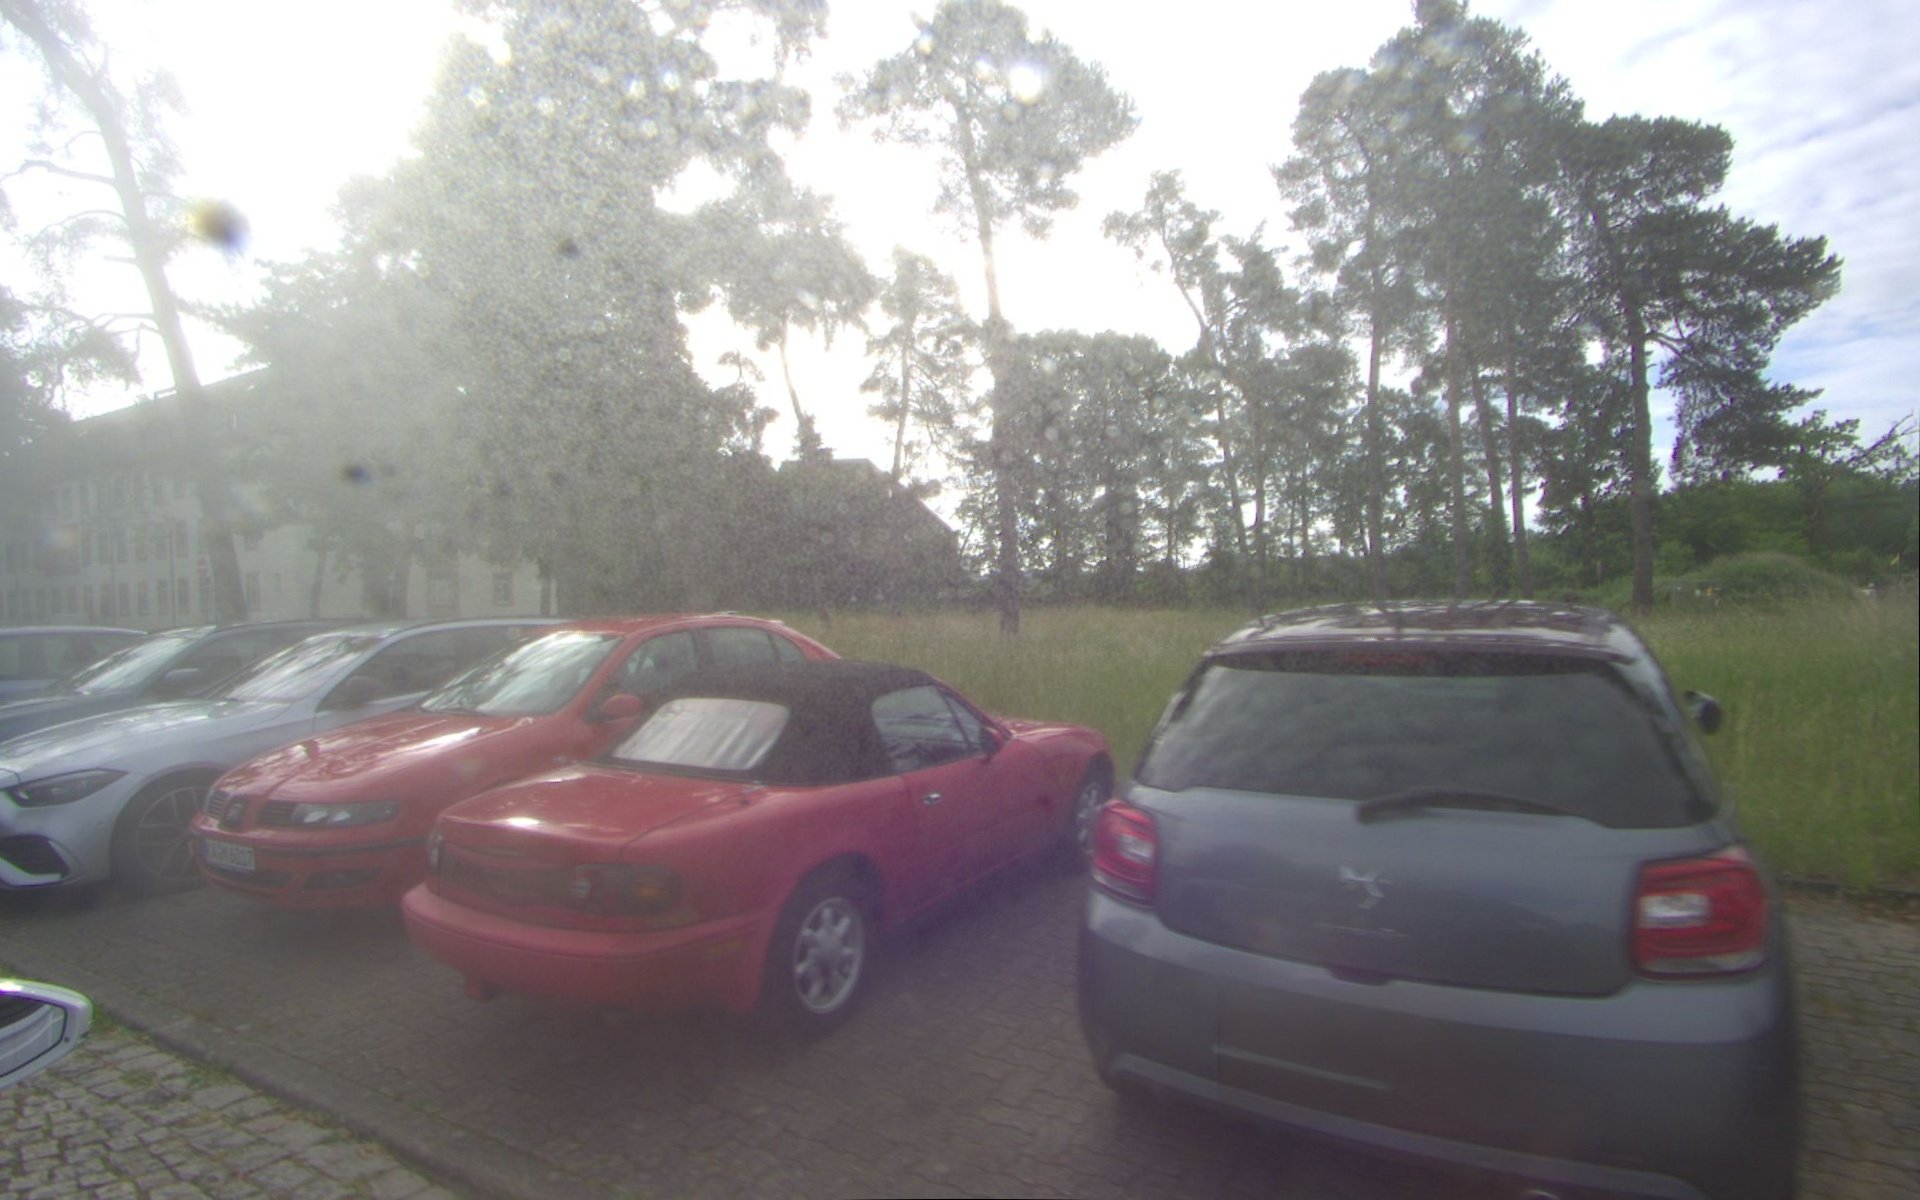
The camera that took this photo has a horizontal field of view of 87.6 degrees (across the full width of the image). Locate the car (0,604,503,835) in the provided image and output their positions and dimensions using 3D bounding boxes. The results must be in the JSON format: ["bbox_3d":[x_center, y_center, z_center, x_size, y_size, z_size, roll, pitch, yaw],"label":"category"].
[{"bbox_3d":[-6.685,0.859,8.787,1.842,1.436,4.674,-1,2,28],"label":"car"}]

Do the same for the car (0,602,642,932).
[{"bbox_3d":[-4.531,0.833,7.229,1.839,1.436,4.422,-1,2,22],"label":"car"}]

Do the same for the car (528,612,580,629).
[{"bbox_3d":[-35.170,1.794,86.860,1.627,1.439,3.940,-1,-3,33],"label":"car"}]

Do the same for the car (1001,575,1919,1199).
[{"bbox_3d":[1.813,0.711,3.673,1.732,1.492,3.855,-1,2,30],"label":"car"}]

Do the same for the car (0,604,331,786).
[{"bbox_3d":[-8.789,0.881,9.974,1.619,1.497,3.917,-1,2,32],"label":"car"}]

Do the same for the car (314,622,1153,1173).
[{"bbox_3d":[-0.548,0.848,4.766,1.732,1.253,3.855,-1,2,30],"label":"car"}]

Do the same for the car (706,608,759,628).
[{"bbox_3d":[-17.520,1.386,77.253,1.627,1.439,3.940,-1,-3,33],"label":"car"}]

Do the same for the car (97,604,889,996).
[{"bbox_3d":[-2.430,0.840,6.391,1.843,1.436,4.253,-1,2,30],"label":"car"}]
